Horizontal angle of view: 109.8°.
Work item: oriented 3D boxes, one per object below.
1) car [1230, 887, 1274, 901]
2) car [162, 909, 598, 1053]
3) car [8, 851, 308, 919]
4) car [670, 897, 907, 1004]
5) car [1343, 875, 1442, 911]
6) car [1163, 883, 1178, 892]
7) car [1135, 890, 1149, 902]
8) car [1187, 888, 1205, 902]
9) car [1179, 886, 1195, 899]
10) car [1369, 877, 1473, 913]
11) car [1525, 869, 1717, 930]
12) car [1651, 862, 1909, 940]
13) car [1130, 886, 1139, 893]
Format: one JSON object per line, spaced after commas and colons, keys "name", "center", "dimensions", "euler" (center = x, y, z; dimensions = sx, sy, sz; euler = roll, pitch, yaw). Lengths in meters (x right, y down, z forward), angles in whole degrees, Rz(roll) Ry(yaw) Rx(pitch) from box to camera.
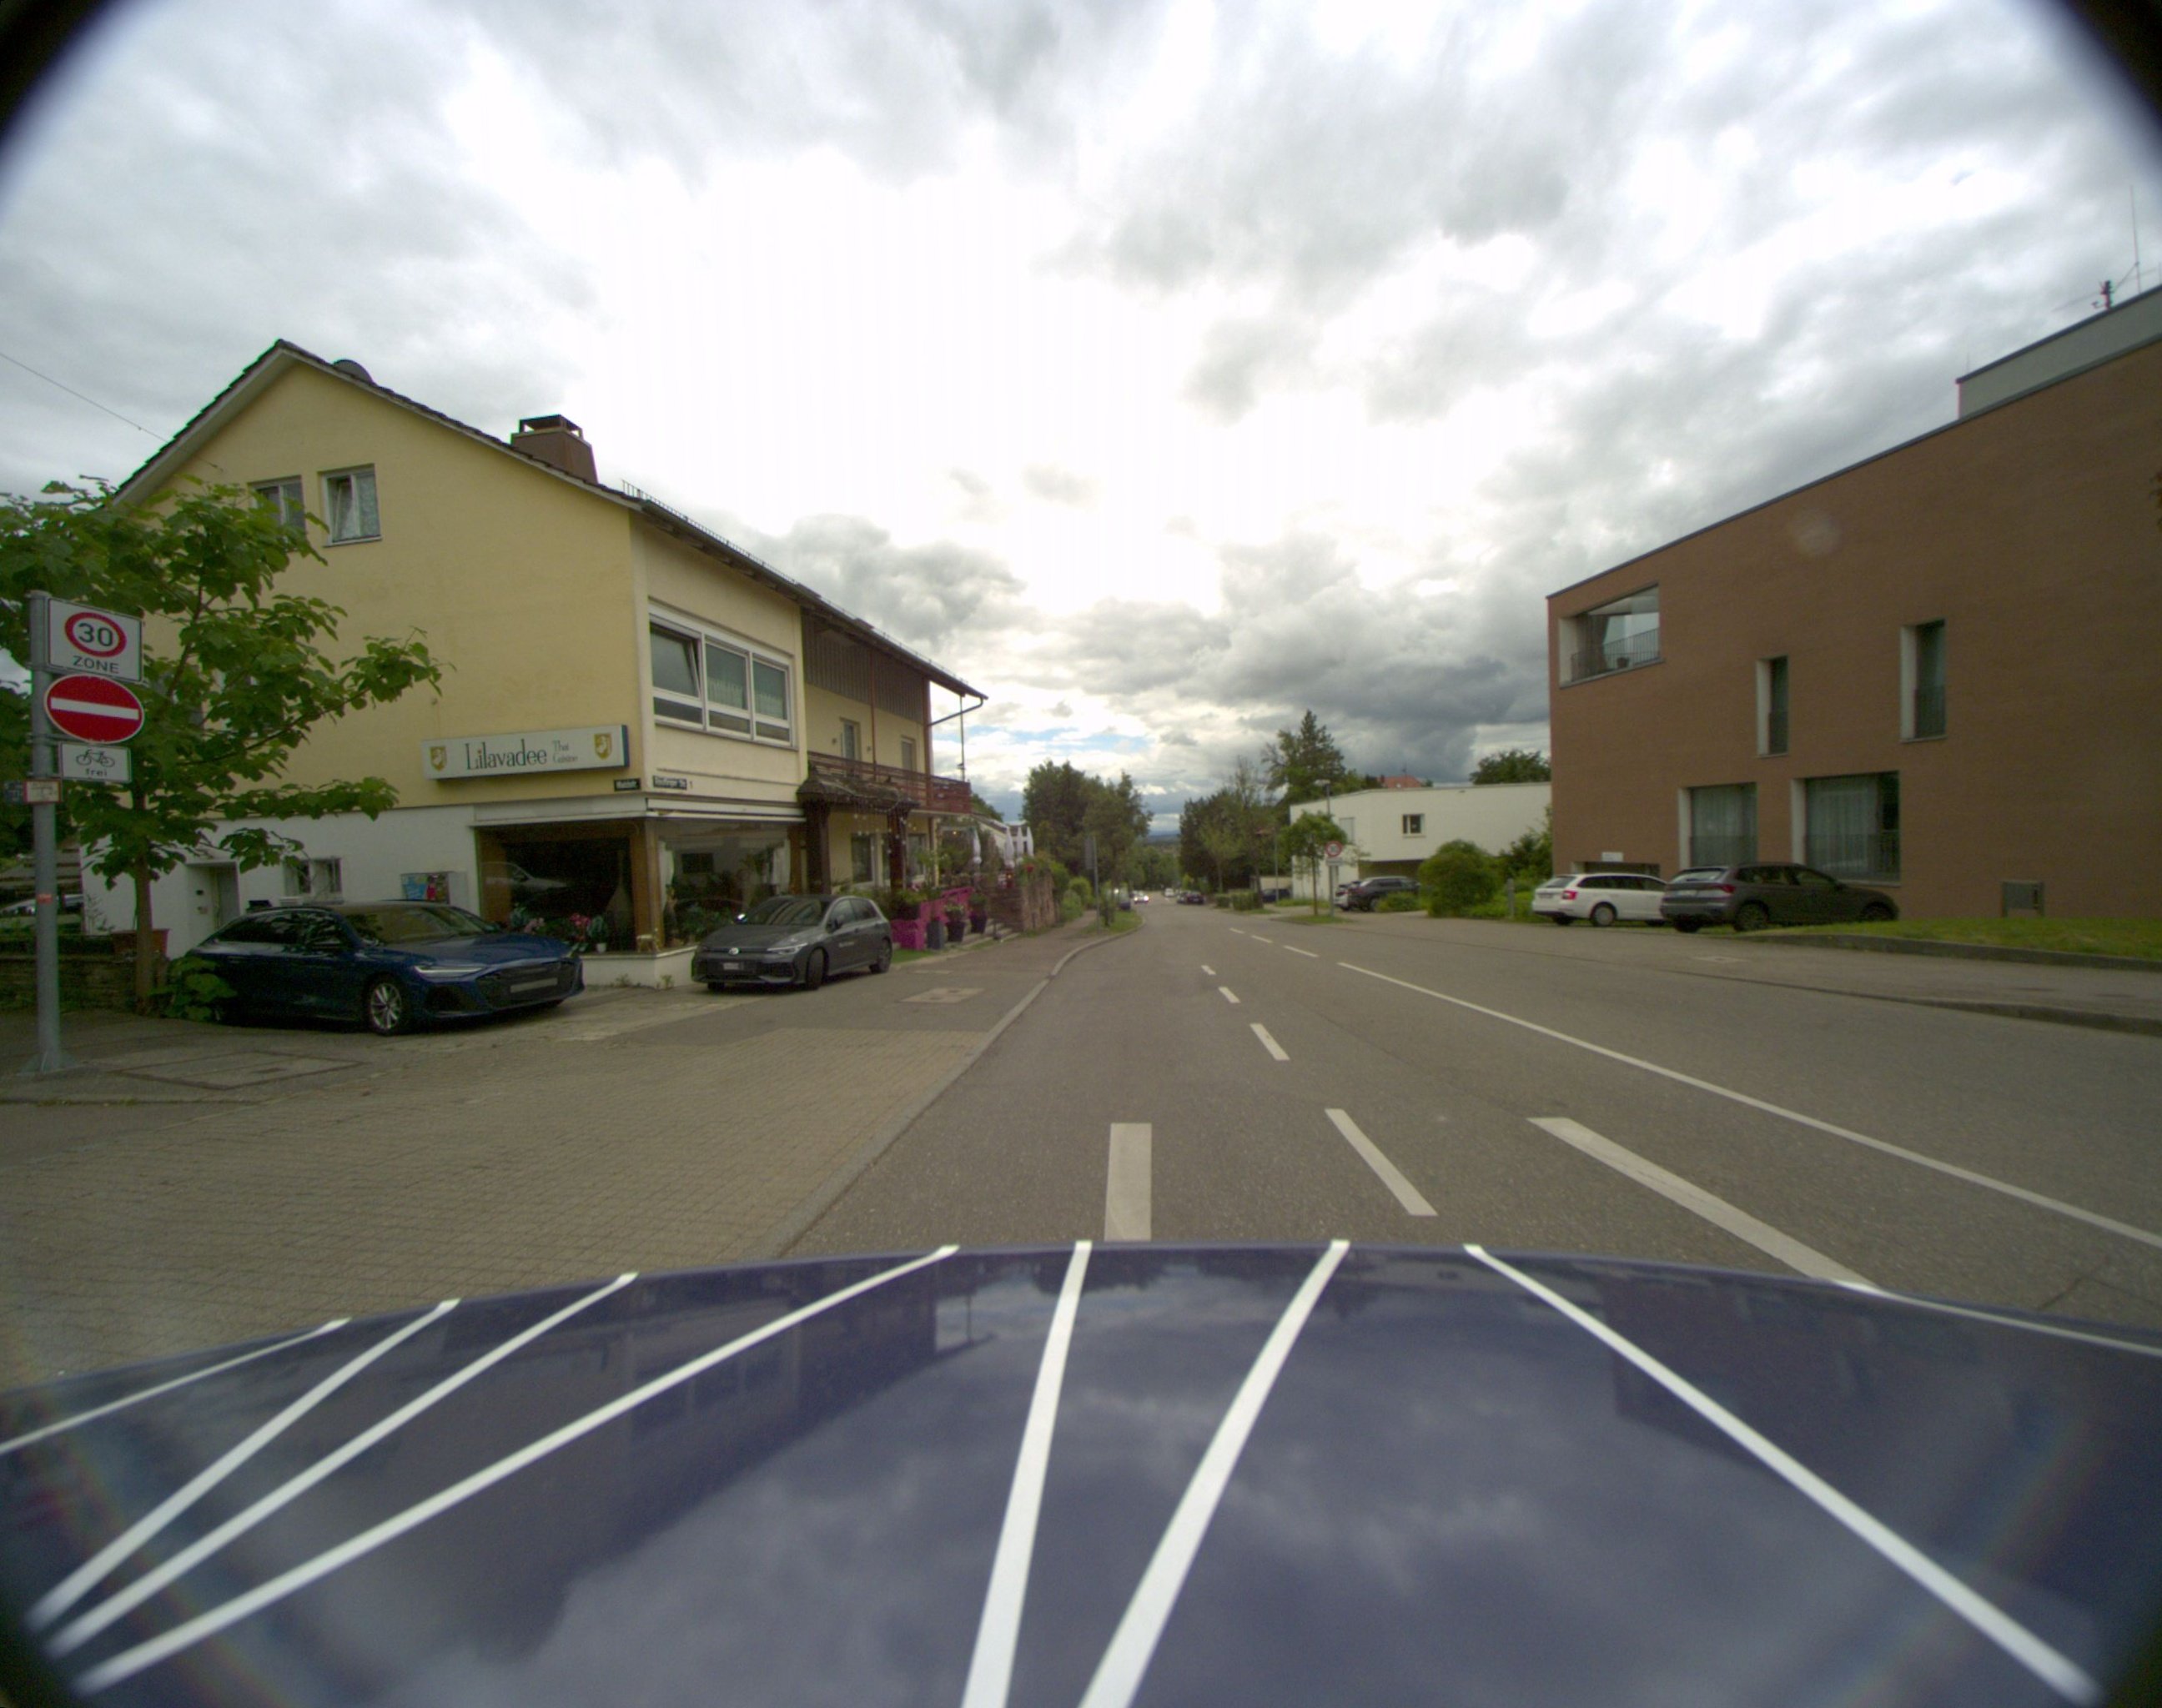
{"name": "car", "center": [16.556, 3.875, 73.726], "dimensions": [3.995, 1.278, 1.665], "euler": [-2, -3, 7]}
{"name": "car", "center": [-8.528, 1.413, 9.289], "dimensions": [4.739, 1.378, 1.802], "euler": [-2, -1, 18]}
{"name": "car", "center": [-22.472, 0.812, 18.778], "dimensions": [1.795, 1.452, 4.336], "euler": [-2, -4, 22]}
{"name": "car", "center": [-4.541, 1.474, 12.626], "dimensions": [1.796, 1.452, 4.332], "euler": [-1, -4, 8]}
{"name": "car", "center": [15.060, 1.888, 36.874], "dimensions": [3.996, 1.585, 1.795], "euler": [-2, -3, 3]}
{"name": "car", "center": [16.224, 6.057, 137.970], "dimensions": [1.884, 1.412, 4.368], "euler": [-1, -1, -2]}
{"name": "car", "center": [8.111, 5.530, 100.356], "dimensions": [1.725, 1.476, 4.004], "euler": [-2, -3, 6]}
{"name": "car", "center": [12.191, 4.290, 80.576], "dimensions": [1.661, 1.412, 4.004], "euler": [-2, -3, 6]}
{"name": "car", "center": [12.509, 4.545, 89.574], "dimensions": [1.661, 1.412, 4.372], "euler": [-2, -3, 6]}
{"name": "car", "center": [15.605, 1.890, 35.033], "dimensions": [3.996, 1.476, 1.728], "euler": [-2, -3, 3]}
{"name": "car", "center": [14.618, 1.219, 20.710], "dimensions": [3.998, 1.476, 1.727], "euler": [-1, -3, -3]}
{"name": "car", "center": [14.916, 0.988, 16.351], "dimensions": [3.998, 1.476, 1.727], "euler": [-1, -3, -3]}
{"name": "car", "center": [12.947, 8.567, 183.942], "dimensions": [1.883, 1.412, 4.369], "euler": [-1, -1, 1]}
